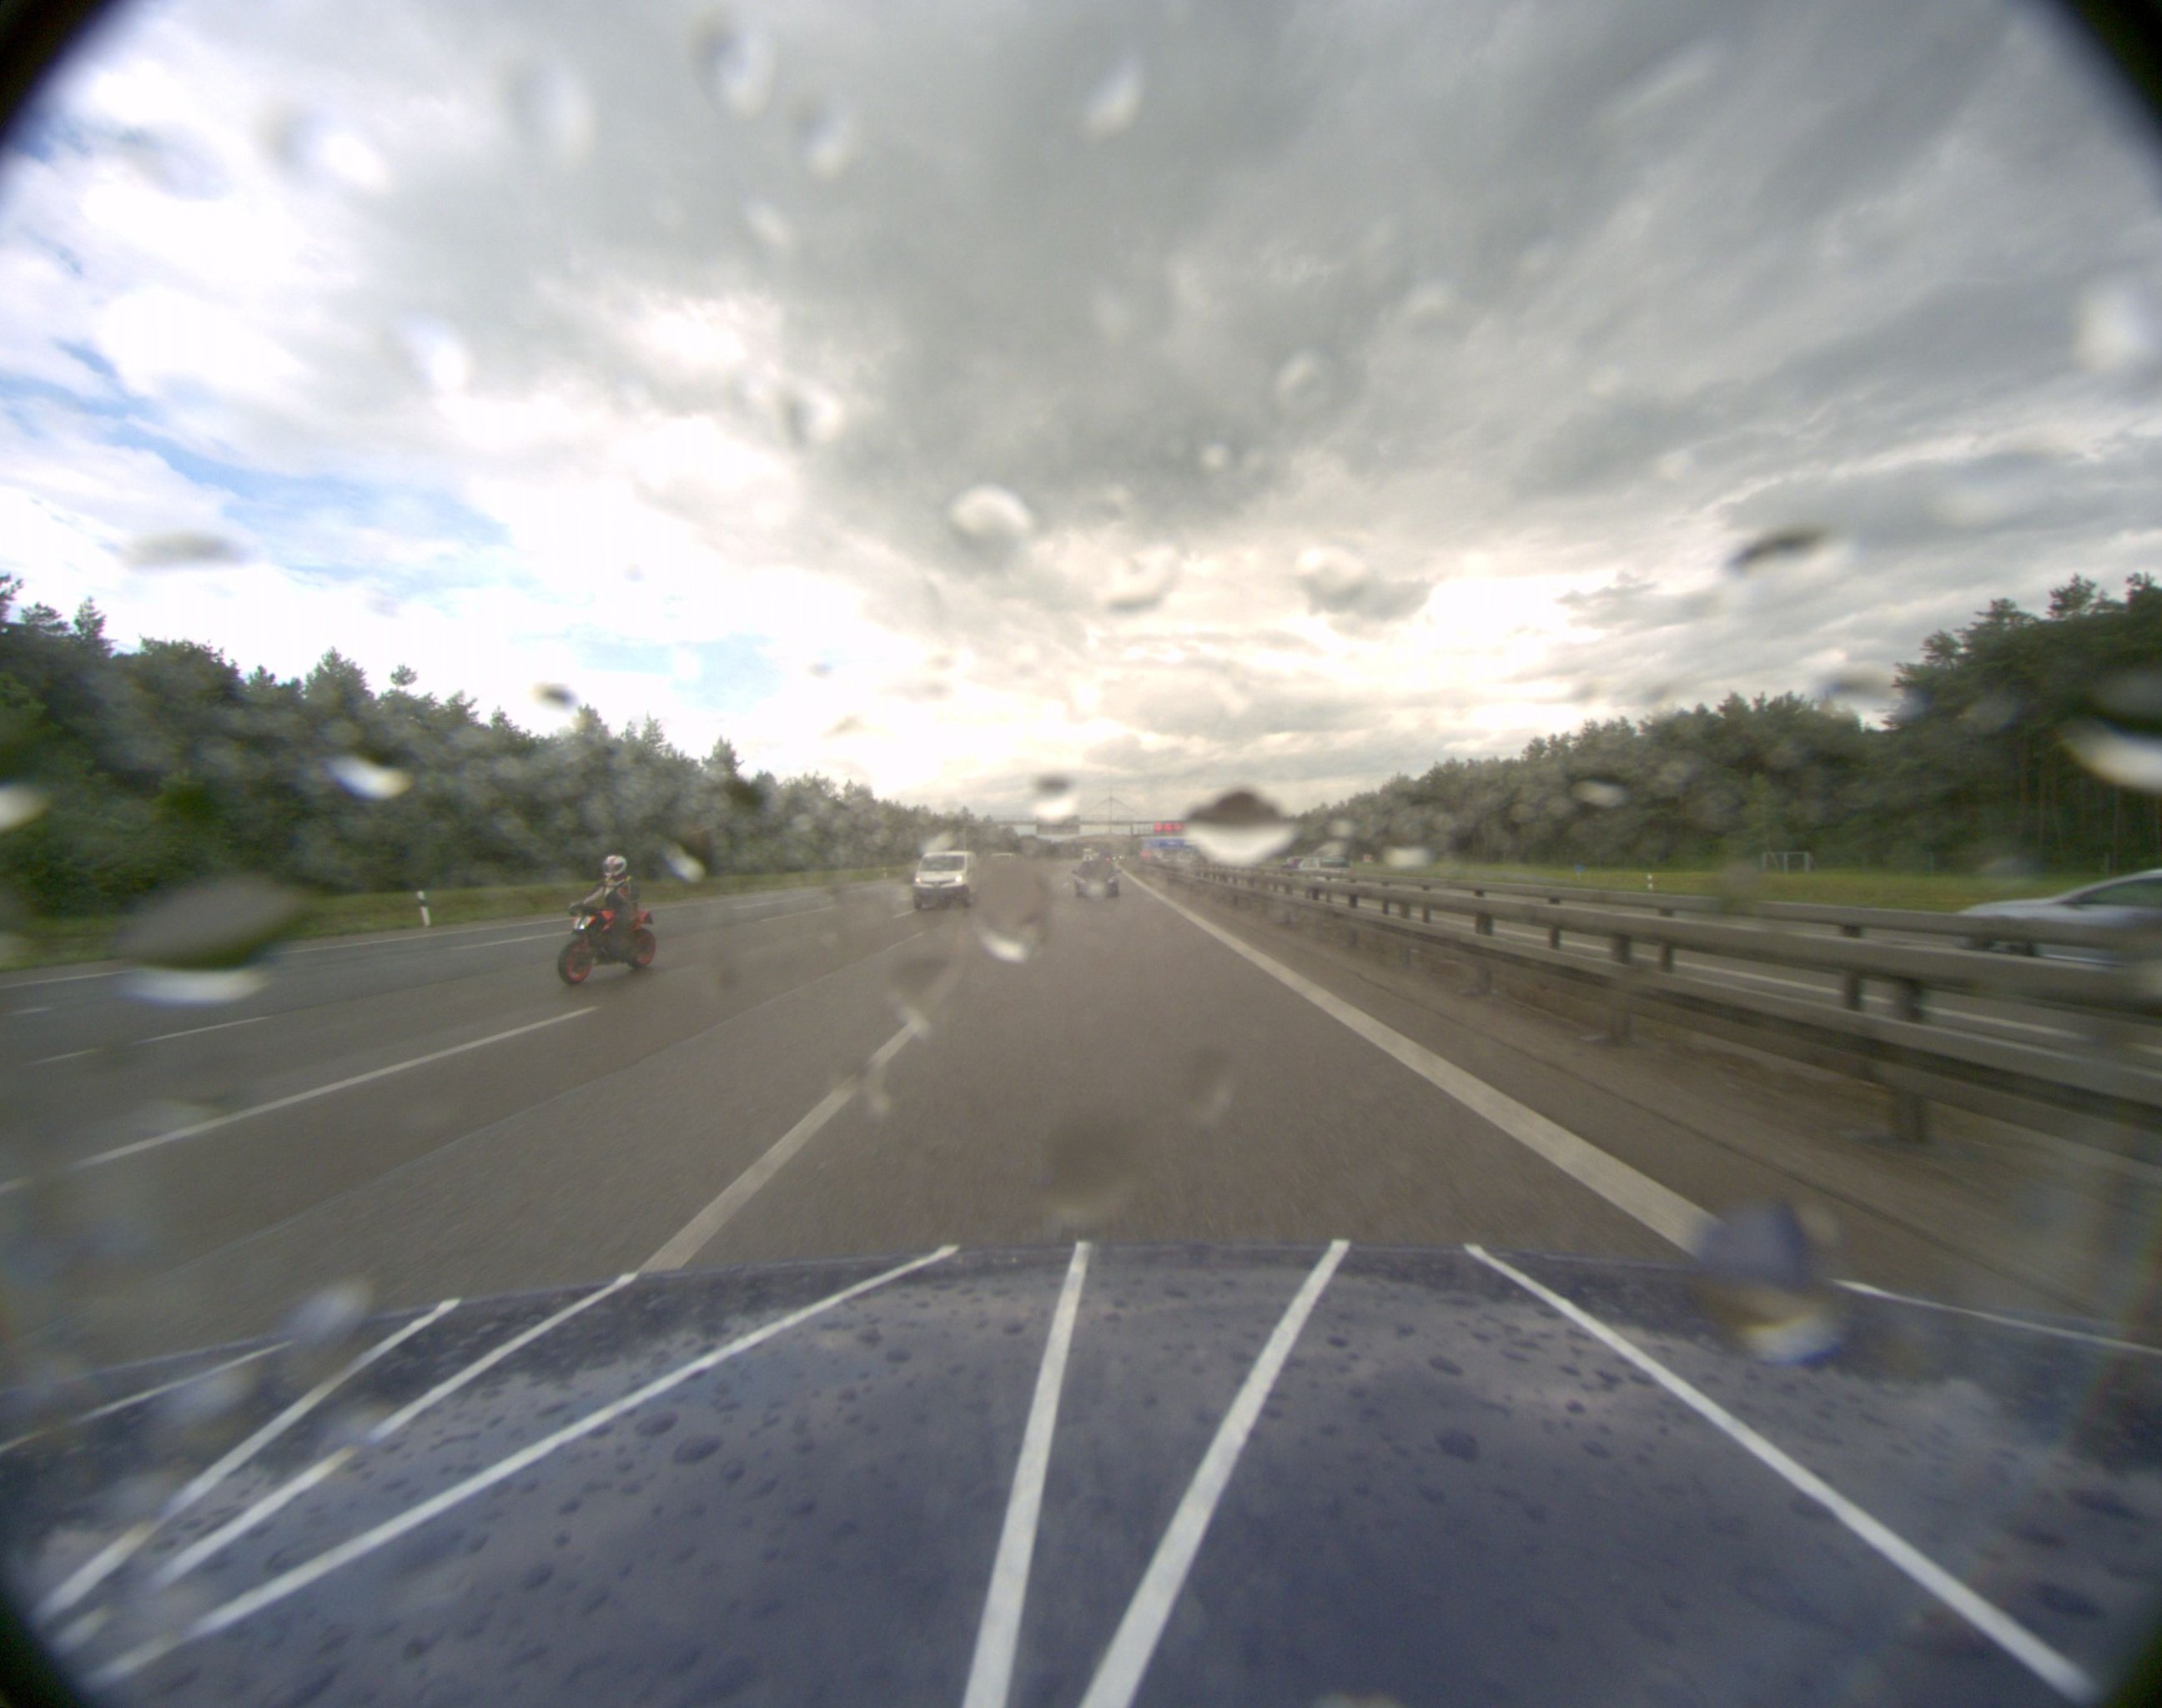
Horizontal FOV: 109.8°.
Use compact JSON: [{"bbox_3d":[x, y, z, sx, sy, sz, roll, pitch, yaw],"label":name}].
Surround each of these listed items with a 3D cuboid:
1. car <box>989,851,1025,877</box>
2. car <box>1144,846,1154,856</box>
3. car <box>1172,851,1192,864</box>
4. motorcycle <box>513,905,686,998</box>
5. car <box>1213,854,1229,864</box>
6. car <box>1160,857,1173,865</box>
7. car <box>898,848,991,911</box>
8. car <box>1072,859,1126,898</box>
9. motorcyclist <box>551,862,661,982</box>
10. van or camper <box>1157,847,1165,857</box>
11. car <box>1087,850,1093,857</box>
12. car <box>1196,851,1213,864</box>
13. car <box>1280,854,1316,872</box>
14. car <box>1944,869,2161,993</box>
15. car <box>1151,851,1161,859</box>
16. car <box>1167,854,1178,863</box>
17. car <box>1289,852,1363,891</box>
[{"bbox_3d":[-6.123,0.782,63.406,1.998,2.002,5.485,-2,0,5],"label":"car"},{"bbox_3d":[17.651,-0.737,196.510,2.138,2.646,6.674,-1,0,1],"label":"car"},{"bbox_3d":[10.947,0.374,82.238,1.697,1.368,4.000,-1,0,1],"label":"car"},{"bbox_3d":[-6.767,1.334,10.875,1.002,1.025,2.174,-2,0,3],"label":"motorcycle"},{"bbox_3d":[21.490,0.774,116.392,1.728,1.388,4.184,1,0,1],"label":"car"},{"bbox_3d":[13.728,1.160,121.484,1.698,1.252,4.062,0,0,1],"label":"car"},{"bbox_3d":[-4.476,0.781,25.717,1.968,1.890,4.882,-2,0,3],"label":"car"},{"bbox_3d":[0.772,0.904,29.616,1.809,1.321,4.433,-1,0,5],"label":"car"},{"bbox_3d":[-6.770,0.937,10.877,0.893,1.605,0.959,-2,1,2],"label":"motorcyclist"},{"bbox_3d":[24.890,-0.596,236.490,2.306,3.094,7.546,1,0,4],"label":"van or camper"},{"bbox_3d":[2.820,-0.128,240.187,1.998,2.002,4.000,-1,0,2],"label":"car"},{"bbox_3d":[17.574,0.471,108.188,1.728,1.674,4.137,2,0,1],"label":"car"},{"bbox_3d":[19.253,0.784,67.651,1.905,1.539,4.513,1,0,1],"label":"car"},{"bbox_3d":[13.666,0.955,8.905,1.833,1.412,4.572,1,0,-1],"label":"car"},{"bbox_3d":[15.533,0.249,156.921,1.794,1.533,3.722,0,0,3],"label":"car"},{"bbox_3d":[17.722,0.897,146.598,1.757,1.570,3.847,-1,0,1],"label":"car"},{"bbox_3d":[10.348,0.682,32.412,1.789,1.538,4.402,0,0,0],"label":"car"}]
